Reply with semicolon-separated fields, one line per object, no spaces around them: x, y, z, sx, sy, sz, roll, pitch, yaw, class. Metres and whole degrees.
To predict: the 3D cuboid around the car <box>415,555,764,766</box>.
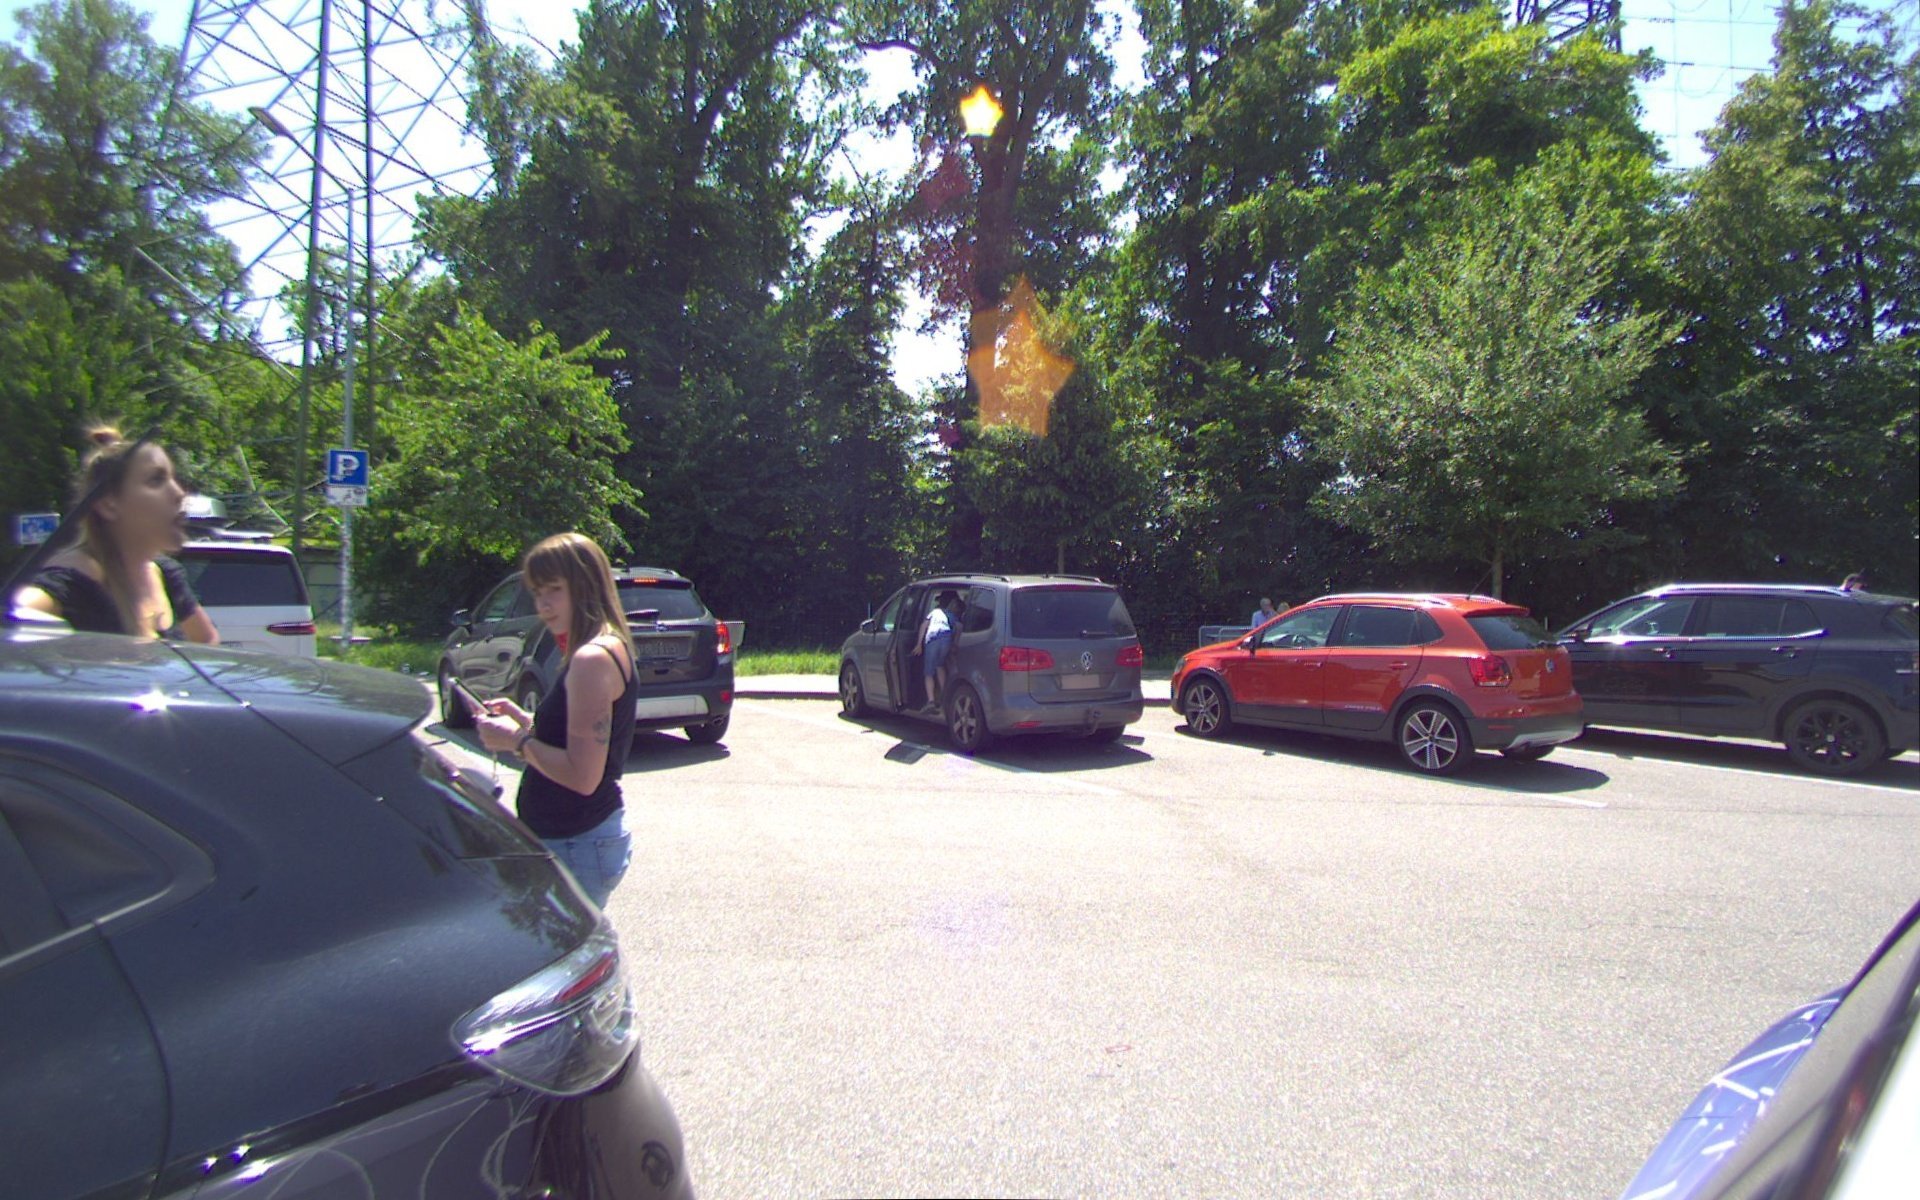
-3.824;0.463;10.005;1.807;1.637;4.159;1;0;-42;car

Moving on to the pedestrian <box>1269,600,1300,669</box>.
5.747;0.604;17.927;0.348;1.207;0.367;0;0;-20;pedestrian

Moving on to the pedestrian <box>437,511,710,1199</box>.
-0.986;0.609;2.581;0.477;1.614;0.502;1;-1;-44;pedestrian

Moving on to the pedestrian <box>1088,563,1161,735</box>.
1.705;0.490;10.531;0.576;1.744;0.483;0;0;-20;pedestrian

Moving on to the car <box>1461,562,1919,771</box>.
7.158;0.521;9.730;1.679;1.637;3.863;1;0;-40;car

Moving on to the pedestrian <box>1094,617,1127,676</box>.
2.336;0.710;15.648;0.494;0.890;0.512;0;0;10;pedestrian

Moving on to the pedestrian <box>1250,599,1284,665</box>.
5.786;0.594;19.073;0.433;1.207;0.414;0;0;-30;pedestrian

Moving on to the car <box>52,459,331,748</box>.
-8.438;0.021;10.903;1.897;2.400;4.963;1;-1;-43;car

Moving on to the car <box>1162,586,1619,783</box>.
3.858;0.633;9.640;1.588;1.485;3.751;1;0;-34;car

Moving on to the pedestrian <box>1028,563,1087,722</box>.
1.094;0.460;11.417;0.500;1.744;0.438;0;0;-24;pedestrian

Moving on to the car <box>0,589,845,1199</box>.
-2.053;0.738;0.789;1.776;1.476;3.627;0;1;44;car

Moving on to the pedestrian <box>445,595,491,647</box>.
-11.494;0.470;23.638;0.785;1.178;0.696;0;0;39;pedestrian

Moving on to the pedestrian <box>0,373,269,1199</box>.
-1.926;0.515;2.348;0.478;1.883;0.913;1;-1;-33;pedestrian

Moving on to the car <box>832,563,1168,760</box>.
0.207;0.501;10.528;1.670;1.637;3.912;0;0;-30;car

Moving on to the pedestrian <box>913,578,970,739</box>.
-0.187;0.548;9.816;0.511;1.516;0.560;0;0;-5;pedestrian

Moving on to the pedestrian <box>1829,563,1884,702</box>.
13.059;0.463;14.748;0.570;1.979;0.425;0;-1;38;pedestrian
